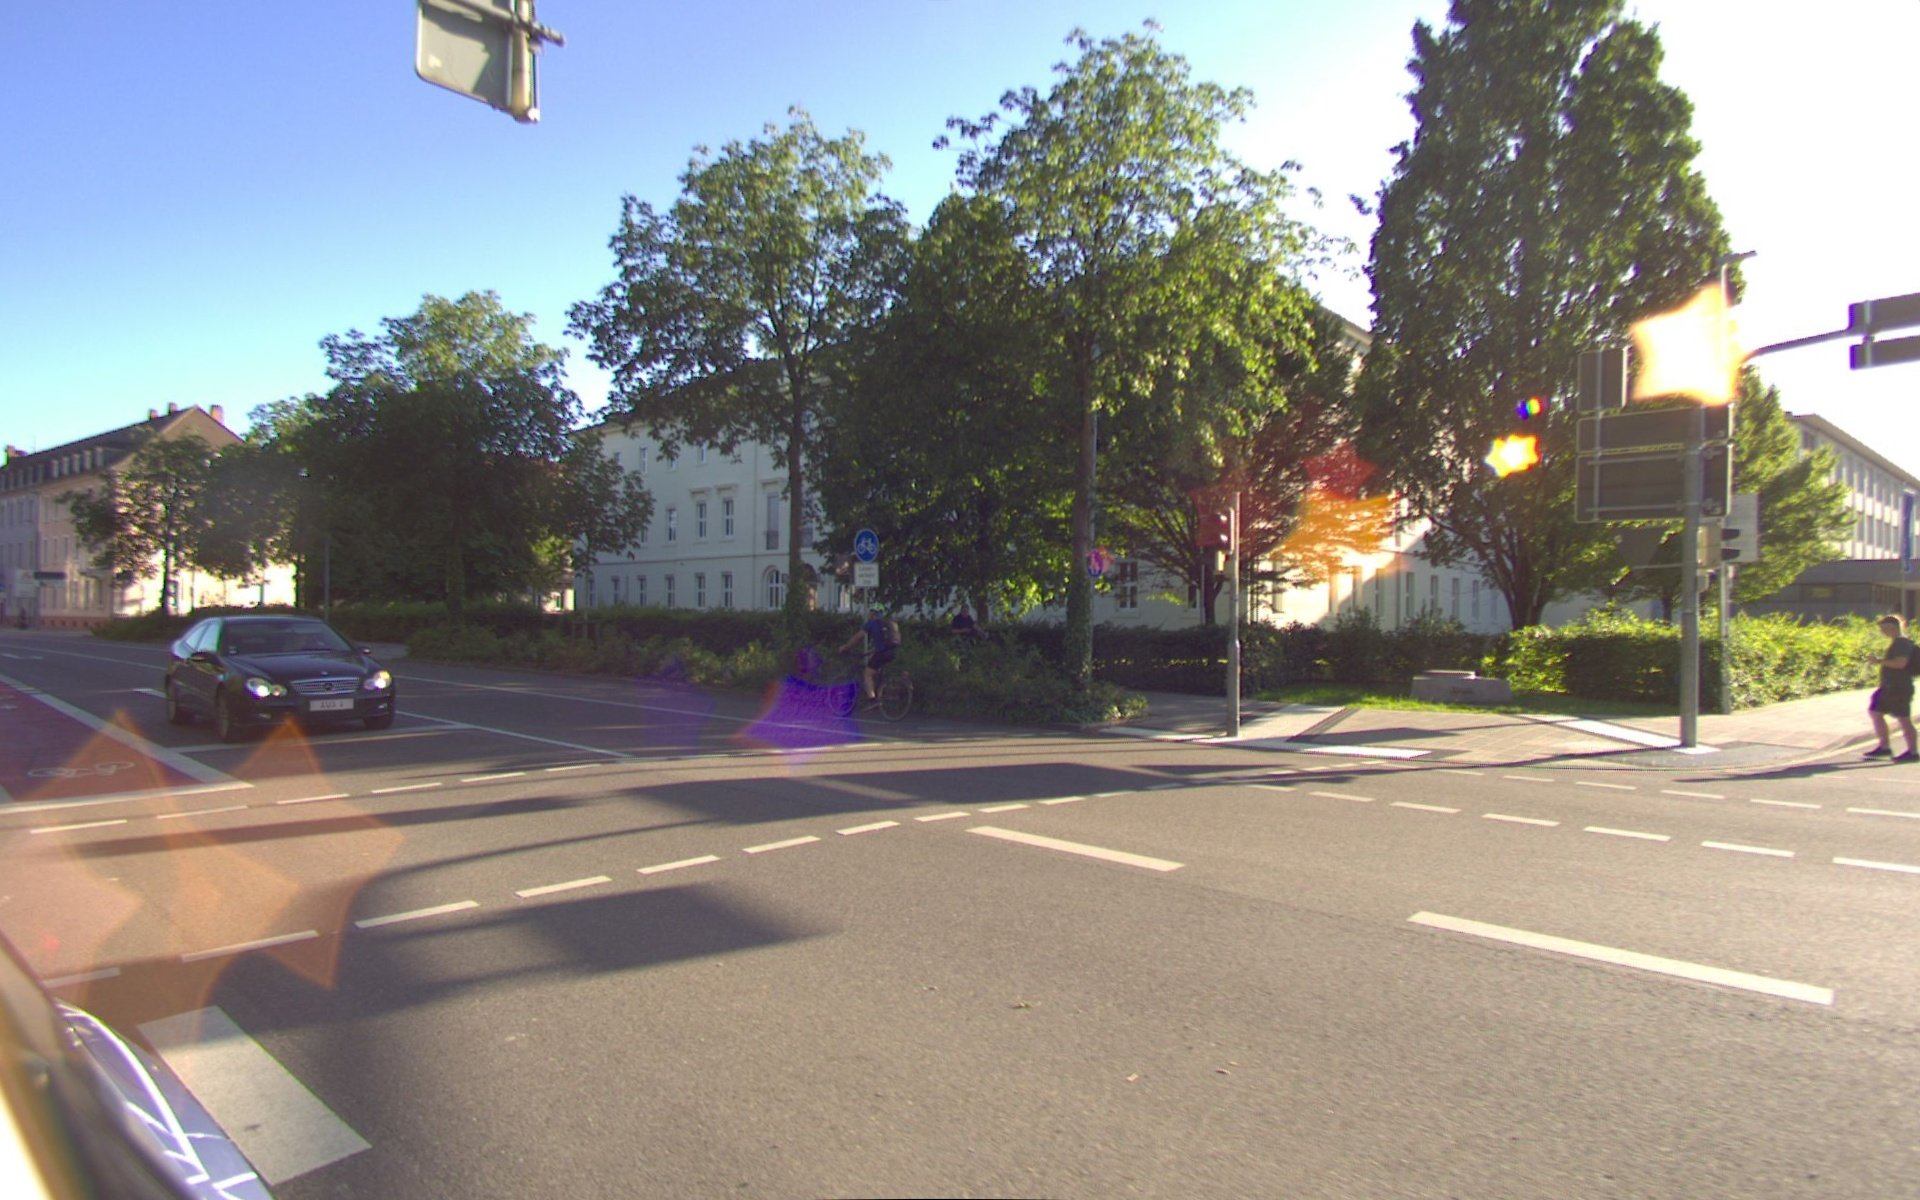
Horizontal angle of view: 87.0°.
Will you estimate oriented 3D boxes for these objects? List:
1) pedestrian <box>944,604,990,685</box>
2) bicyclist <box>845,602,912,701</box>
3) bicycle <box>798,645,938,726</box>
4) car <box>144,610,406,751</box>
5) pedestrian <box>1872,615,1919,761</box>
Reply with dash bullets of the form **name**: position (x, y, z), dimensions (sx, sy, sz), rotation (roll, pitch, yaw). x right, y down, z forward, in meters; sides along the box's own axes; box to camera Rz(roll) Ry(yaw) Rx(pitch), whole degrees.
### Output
- **pedestrian**: position (0.144, 0.942, 21.566), dimensions (0.681, 1.694, 0.681), rotation (2, -2, -39)
- **bicyclist**: position (-1.252, 0.771, 15.542), dimensions (0.755, 1.477, 0.691), rotation (0, -2, 31)
- **bicycle**: position (-1.436, 1.291, 15.637), dimensions (2.182, 1.125, 0.691), rotation (0, -2, 32)
- **car**: position (-8.730, 0.866, 12.733), dimensions (4.526, 1.428, 1.699), rotation (0, 0, 42)
- **pedestrian**: position (12.269, 1.113, 13.022), dimensions (0.681, 1.830, 0.681), rotation (2, -2, -39)
